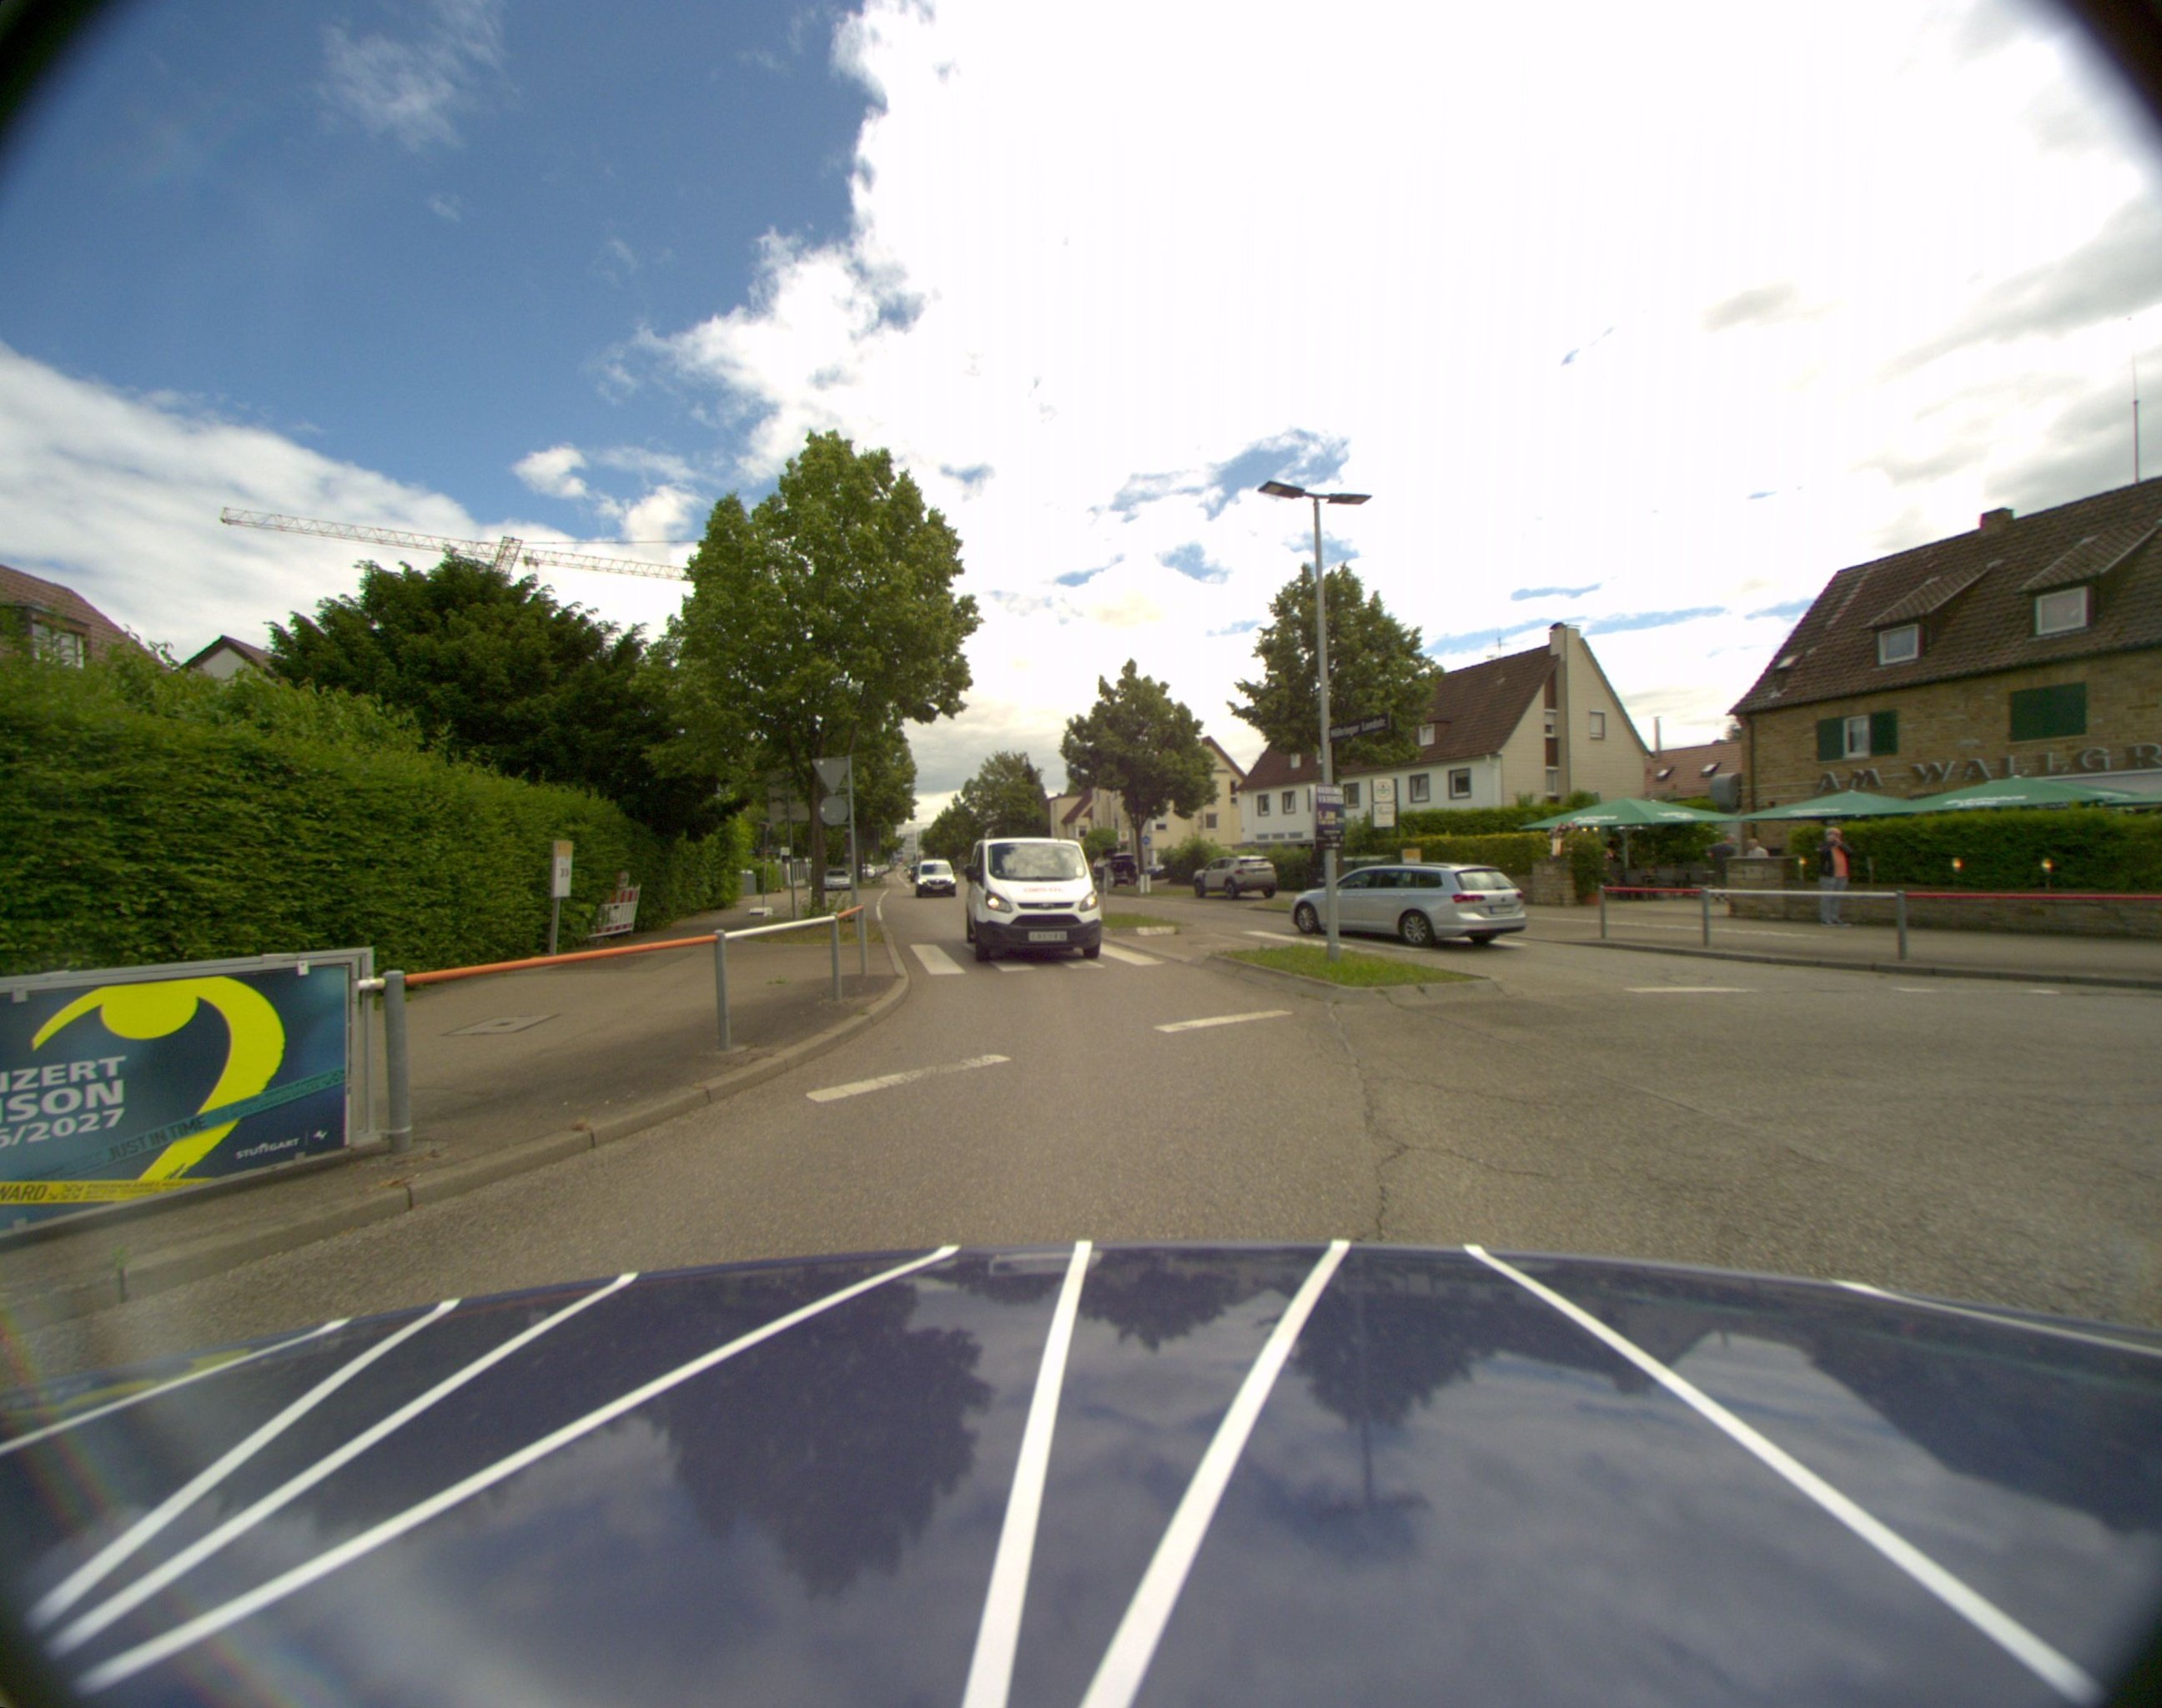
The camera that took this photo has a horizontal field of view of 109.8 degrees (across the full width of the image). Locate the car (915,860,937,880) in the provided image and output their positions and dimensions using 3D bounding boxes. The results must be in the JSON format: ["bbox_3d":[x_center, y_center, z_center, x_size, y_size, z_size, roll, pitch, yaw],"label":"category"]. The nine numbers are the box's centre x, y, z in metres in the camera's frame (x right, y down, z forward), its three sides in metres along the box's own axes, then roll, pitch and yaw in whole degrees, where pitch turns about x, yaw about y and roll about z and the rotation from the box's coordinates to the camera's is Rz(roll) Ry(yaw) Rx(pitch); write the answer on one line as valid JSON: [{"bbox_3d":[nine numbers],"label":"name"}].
[{"bbox_3d":[-13.869,1.418,67.876,1.827,1.658,3.995,-2,0,-13],"label":"car"}]

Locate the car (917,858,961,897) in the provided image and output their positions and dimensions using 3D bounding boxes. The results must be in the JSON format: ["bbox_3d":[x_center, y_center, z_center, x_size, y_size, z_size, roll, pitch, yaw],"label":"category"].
[{"bbox_3d":[-7.017,1.111,37.247,1.928,1.744,3.995,-2,0,-13],"label":"car"}]

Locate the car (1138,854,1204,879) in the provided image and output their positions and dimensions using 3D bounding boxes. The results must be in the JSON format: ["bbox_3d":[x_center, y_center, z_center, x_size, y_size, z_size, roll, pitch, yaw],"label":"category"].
[{"bbox_3d":[6.080,0.809,51.239,4.051,1.530,1.749,-2,0,-21],"label":"car"}]

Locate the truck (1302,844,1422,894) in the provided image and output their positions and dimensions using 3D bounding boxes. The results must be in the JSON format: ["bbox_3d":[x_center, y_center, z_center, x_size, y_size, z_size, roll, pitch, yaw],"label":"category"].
[{"bbox_3d":[11.617,0.600,31.413,4.505,1.839,1.862,-2,0,-21],"label":"truck"}]

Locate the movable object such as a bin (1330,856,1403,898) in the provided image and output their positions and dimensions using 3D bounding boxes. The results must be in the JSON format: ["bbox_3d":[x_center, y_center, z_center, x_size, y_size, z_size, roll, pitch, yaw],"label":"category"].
[{"bbox_3d":[10.274,0.816,27.511,0.985,1.408,2.718,-2,0,-18],"label":"movable object such as a bin"}]

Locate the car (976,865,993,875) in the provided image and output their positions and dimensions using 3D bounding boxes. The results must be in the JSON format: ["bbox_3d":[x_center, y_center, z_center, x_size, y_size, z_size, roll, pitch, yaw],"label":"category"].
[{"bbox_3d":[-11.407,1.887,90.050,1.499,1.159,3.190,-1,0,-16],"label":"car"}]

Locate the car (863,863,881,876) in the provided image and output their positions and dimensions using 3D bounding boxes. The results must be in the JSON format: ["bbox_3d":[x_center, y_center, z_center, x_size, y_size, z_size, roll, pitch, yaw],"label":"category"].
[{"bbox_3d":[-23.458,1.692,85.275,1.813,1.334,3.995,-1,0,-13],"label":"car"}]

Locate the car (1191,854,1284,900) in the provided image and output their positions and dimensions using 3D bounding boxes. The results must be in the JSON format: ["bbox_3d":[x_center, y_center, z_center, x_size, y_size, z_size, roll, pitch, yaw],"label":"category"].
[{"bbox_3d":[5.993,0.868,29.637,1.753,1.626,4.042,-2,0,-18],"label":"car"}]

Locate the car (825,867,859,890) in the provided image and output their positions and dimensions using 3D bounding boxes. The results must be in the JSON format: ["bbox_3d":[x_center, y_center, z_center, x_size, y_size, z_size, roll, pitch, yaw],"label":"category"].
[{"bbox_3d":[-15.423,1.547,49.224,1.813,1.334,3.995,-1,0,-13],"label":"car"}]

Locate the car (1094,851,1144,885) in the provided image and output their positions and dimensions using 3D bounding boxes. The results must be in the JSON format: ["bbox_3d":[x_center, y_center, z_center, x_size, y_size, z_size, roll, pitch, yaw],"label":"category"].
[{"bbox_3d":[2.150,0.781,44.274,1.753,1.819,4.043,-2,0,-14],"label":"car"}]

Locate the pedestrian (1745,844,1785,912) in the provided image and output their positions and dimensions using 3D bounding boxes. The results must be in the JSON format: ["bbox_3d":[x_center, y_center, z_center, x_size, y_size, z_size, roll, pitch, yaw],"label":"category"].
[{"bbox_3d":[17.585,0.617,19.549,0.489,1.717,0.567,-1,0,1],"label":"pedestrian"}]

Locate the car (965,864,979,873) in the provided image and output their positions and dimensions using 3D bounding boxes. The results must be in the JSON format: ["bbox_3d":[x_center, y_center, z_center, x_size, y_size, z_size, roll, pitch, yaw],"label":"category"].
[{"bbox_3d":[-14.826,1.957,103.239,1.499,1.220,3.190,-1,0,-16],"label":"car"}]

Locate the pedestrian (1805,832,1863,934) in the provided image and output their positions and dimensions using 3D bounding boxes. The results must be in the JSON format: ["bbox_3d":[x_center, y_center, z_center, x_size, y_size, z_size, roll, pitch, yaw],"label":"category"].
[{"bbox_3d":[13.911,0.529,14.039,0.638,1.816,0.565,-3,1,-29],"label":"pedestrian"}]

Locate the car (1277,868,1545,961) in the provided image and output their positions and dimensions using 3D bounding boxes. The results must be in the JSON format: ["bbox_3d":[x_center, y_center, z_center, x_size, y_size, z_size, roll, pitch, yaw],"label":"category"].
[{"bbox_3d":[5.999,1.005,14.518,1.809,1.446,4.683,0,-1,-25],"label":"car"}]

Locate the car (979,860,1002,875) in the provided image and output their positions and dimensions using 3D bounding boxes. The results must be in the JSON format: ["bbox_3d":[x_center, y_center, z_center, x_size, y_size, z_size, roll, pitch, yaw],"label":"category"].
[{"bbox_3d":[-9.597,1.378,80.214,1.612,1.524,3.741,-1,0,-19],"label":"car"}]

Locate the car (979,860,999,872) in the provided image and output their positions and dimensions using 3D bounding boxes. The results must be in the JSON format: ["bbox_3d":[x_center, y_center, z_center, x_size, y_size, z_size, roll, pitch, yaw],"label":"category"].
[{"bbox_3d":[-10.282,1.300,84.335,1.606,1.220,3.190,-1,0,-18],"label":"car"}]

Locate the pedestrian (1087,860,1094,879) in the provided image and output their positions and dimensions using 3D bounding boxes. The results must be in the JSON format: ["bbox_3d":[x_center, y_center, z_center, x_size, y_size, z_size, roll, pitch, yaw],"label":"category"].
[{"bbox_3d":[0.721,1.118,55.713,0.387,1.357,0.412,-2,0,-14],"label":"pedestrian"}]

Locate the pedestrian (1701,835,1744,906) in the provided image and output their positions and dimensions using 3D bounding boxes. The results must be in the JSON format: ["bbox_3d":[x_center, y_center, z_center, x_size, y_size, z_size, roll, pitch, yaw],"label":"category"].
[{"bbox_3d":[16.708,0.429,19.797,0.637,1.816,0.567,-1,0,1],"label":"pedestrian"}]

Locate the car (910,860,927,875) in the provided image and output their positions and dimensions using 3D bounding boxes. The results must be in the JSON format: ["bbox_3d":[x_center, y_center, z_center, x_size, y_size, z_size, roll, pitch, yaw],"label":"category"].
[{"bbox_3d":[-18.932,1.509,88.501,1.827,1.658,3.995,-2,0,-13],"label":"car"}]

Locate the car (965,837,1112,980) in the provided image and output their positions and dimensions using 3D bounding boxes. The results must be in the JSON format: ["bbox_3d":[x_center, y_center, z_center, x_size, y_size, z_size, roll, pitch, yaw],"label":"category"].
[{"bbox_3d":[-0.984,0.786,13.490,2.000,2.002,5.046,-1,0,-10],"label":"car"}]
